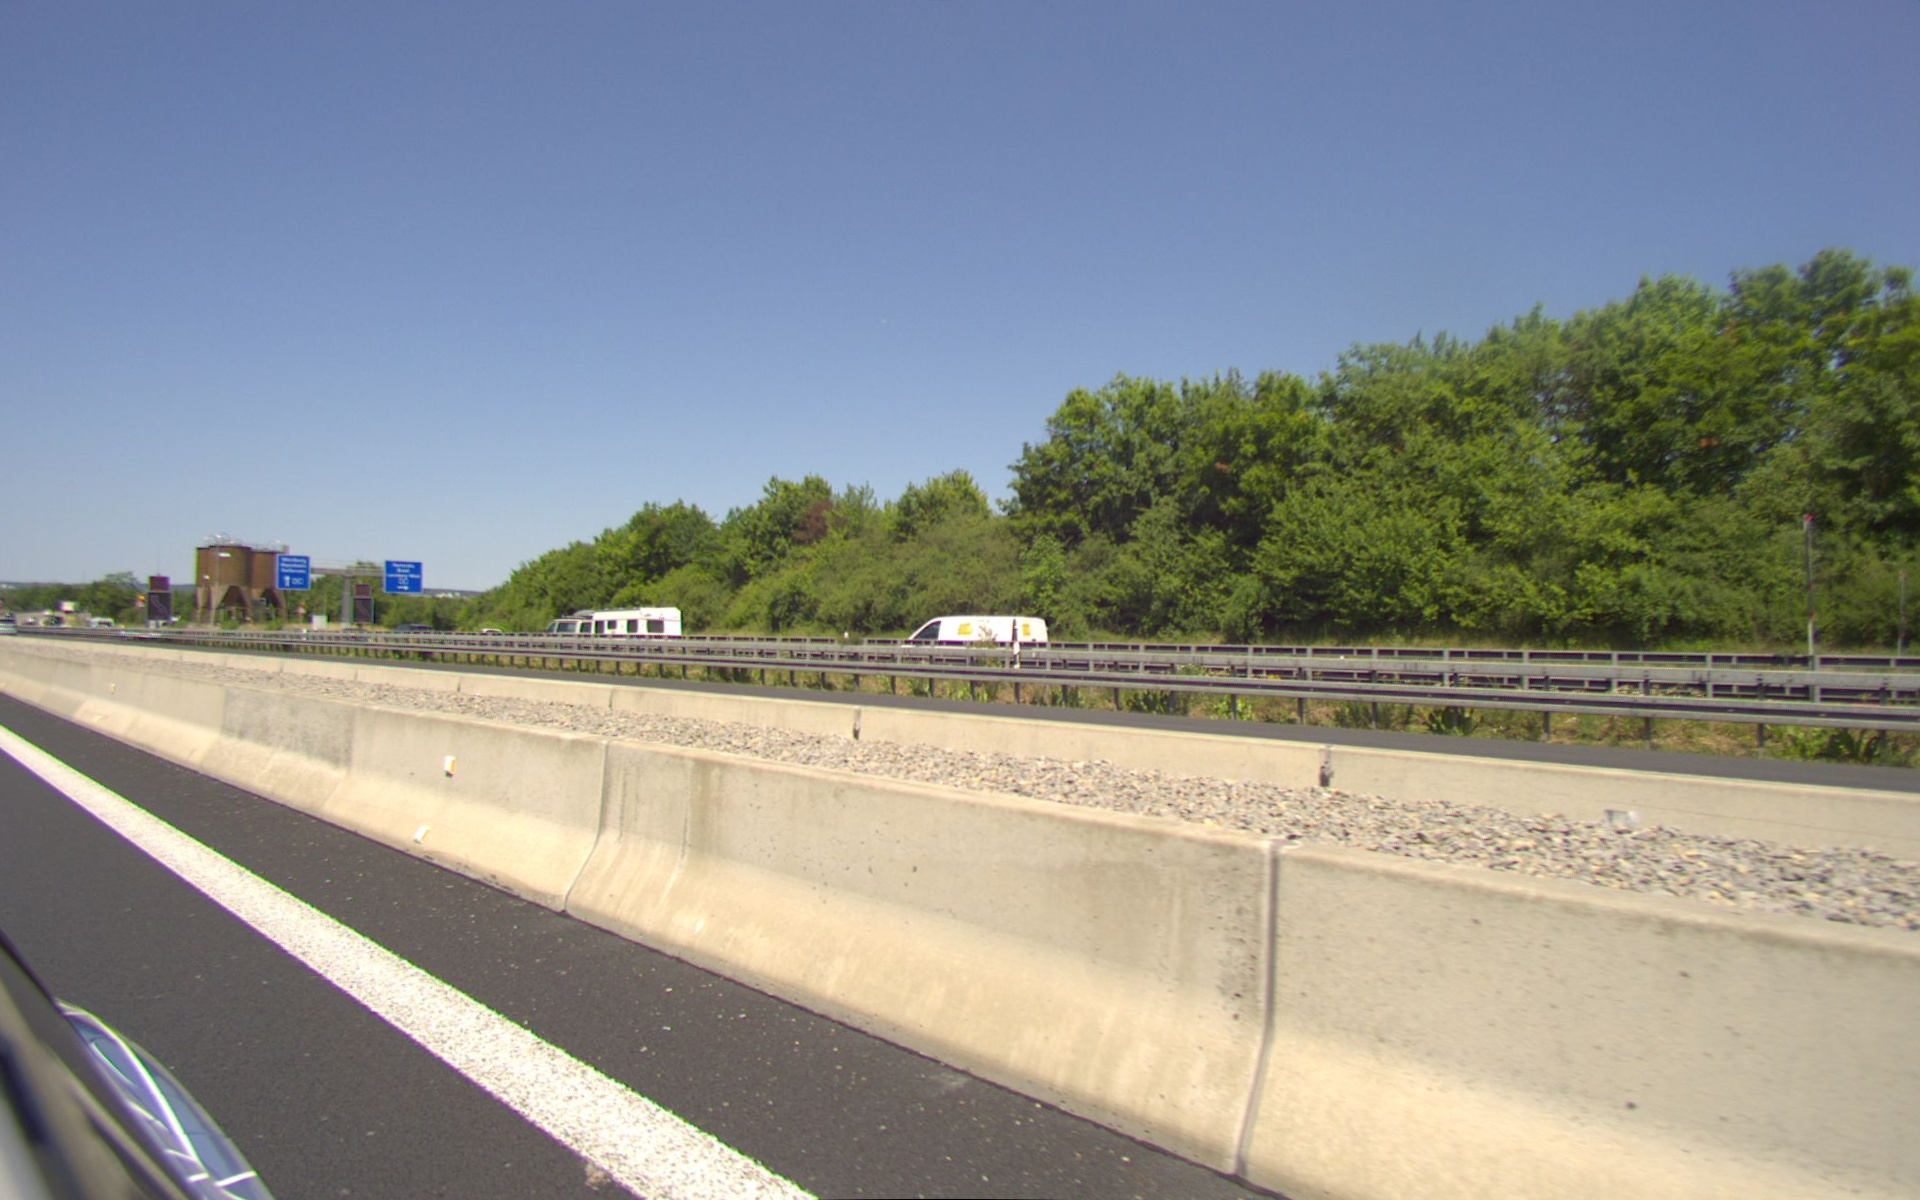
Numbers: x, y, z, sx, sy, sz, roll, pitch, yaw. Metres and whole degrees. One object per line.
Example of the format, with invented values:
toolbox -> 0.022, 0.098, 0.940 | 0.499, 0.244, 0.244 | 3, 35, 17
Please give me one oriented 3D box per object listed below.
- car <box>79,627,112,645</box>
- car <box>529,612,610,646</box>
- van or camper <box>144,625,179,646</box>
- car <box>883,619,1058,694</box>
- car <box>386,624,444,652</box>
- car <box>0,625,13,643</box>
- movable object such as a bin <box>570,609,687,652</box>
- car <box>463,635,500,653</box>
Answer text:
car -> -125.207, 5.267, 146.552 | 5.960, 2.521, 2.767 | -2, -4, 41
car -> -21.390, 1.591, 55.350 | 4.812, 1.820, 1.973 | -1, -3, 40
van or camper -> -95.144, 4.175, 120.495 | 6.964, 2.272, 2.085 | -1, 0, 41
car -> 0.233, 1.614, 30.842 | 5.347, 2.029, 1.972 | -1, 0, 42
car -> -32.435, 2.207, 60.164 | 3.998, 1.522, 1.775 | -1, 0, 41
car -> -100.005, 3.536, 104.997 | 5.083, 1.856, 1.972 | -1, -4, 42
movable object such as a bin -> -16.964, 1.503, 51.506 | 6.775, 2.029, 2.482 | -1, 0, 40
car -> -47.621, 4.374, 100.691 | 1.970, 1.589, 4.998 | -1, 0, -42
